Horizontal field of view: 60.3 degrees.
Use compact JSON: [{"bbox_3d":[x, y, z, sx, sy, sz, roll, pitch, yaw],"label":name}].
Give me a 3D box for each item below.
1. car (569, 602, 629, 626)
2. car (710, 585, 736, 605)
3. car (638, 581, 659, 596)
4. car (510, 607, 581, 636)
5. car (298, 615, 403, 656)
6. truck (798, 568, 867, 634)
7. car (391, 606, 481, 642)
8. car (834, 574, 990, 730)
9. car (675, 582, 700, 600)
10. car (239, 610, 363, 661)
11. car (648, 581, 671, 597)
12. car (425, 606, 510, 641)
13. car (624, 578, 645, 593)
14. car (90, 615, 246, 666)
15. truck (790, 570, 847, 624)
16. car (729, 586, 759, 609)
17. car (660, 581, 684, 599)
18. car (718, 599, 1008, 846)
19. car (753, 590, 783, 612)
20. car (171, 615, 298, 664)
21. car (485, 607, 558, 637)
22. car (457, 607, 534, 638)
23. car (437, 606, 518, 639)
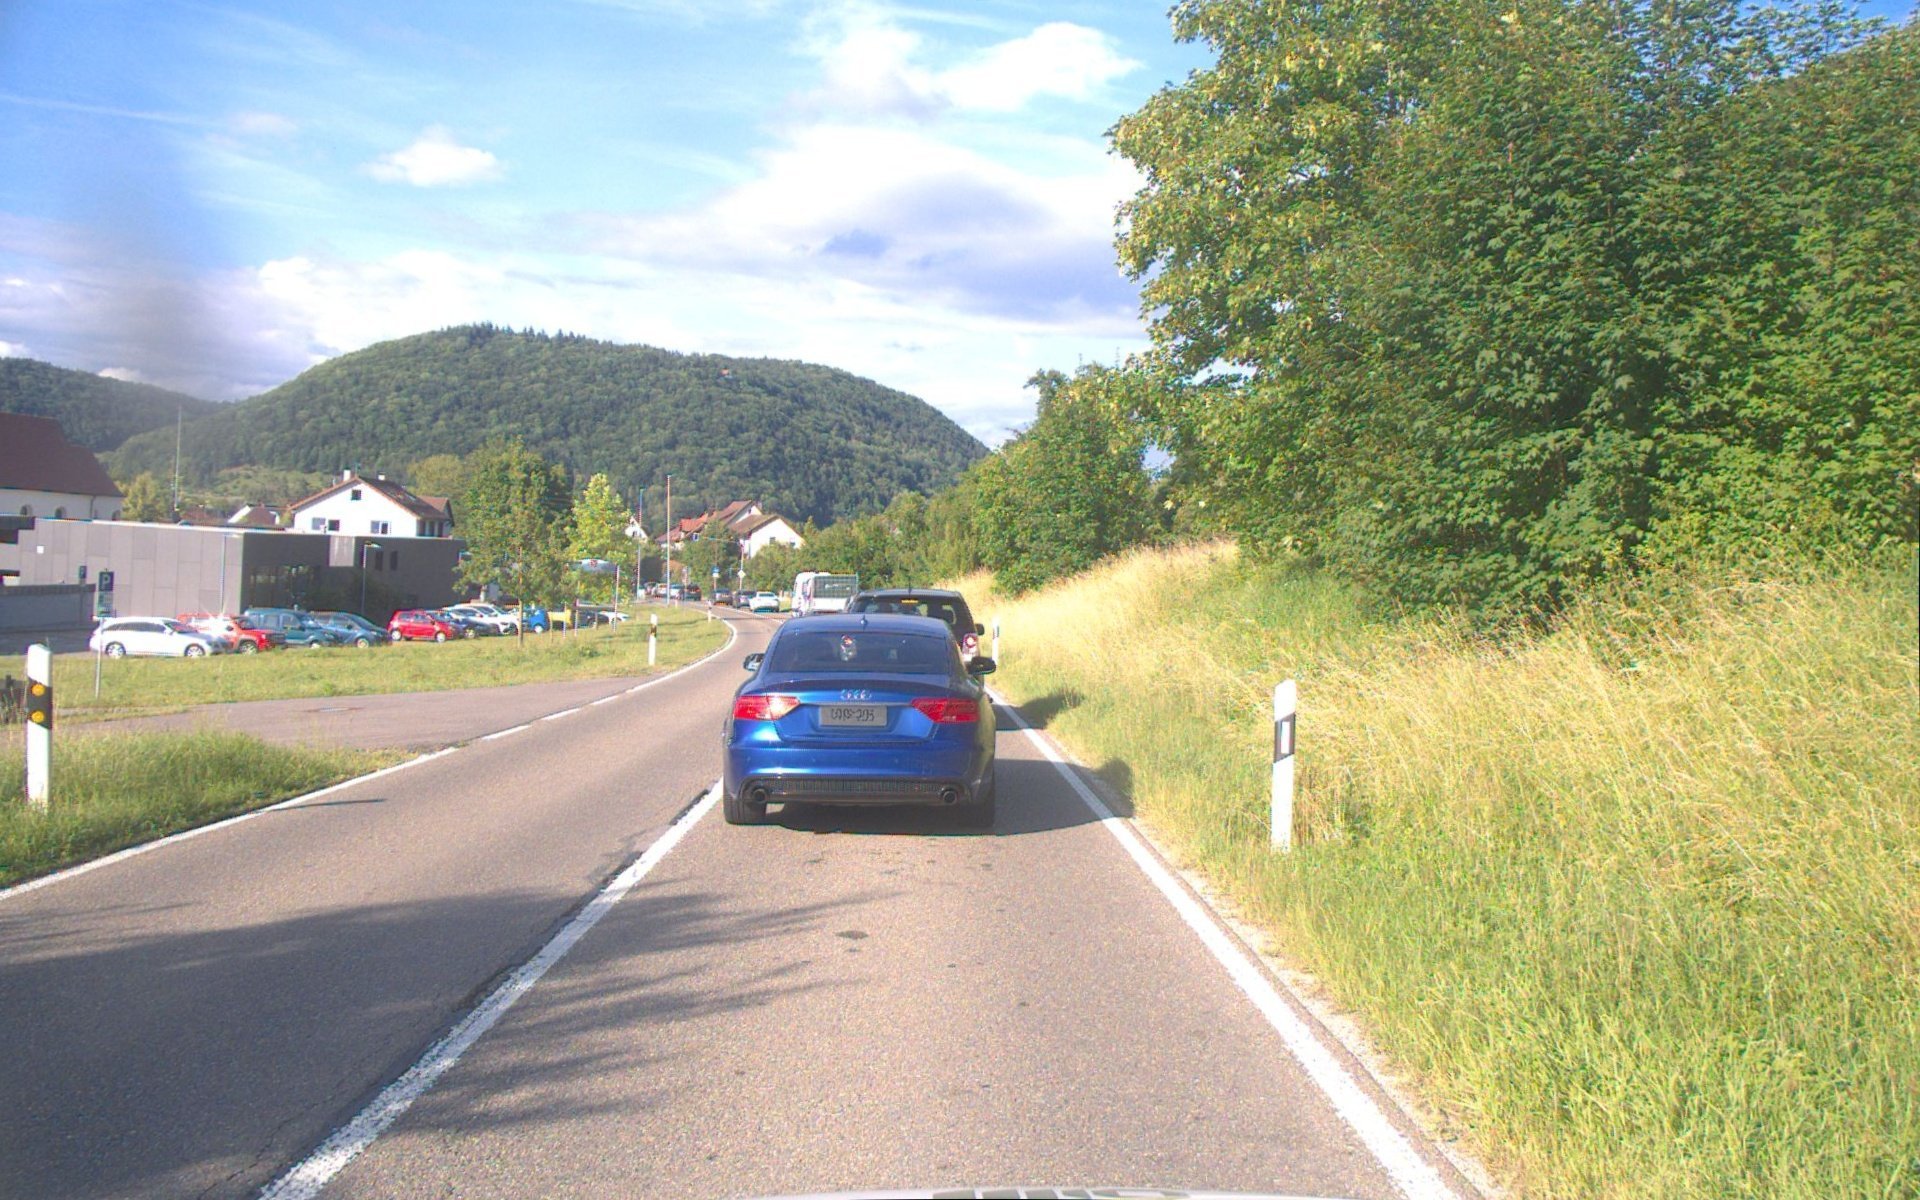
[{"bbox_3d":[-25.743,0.990,118.049,3.907,1.607,1.751,1,-1,-3],"label":"car"},{"bbox_3d":[-20.889,-0.440,145.513,1.815,1.742,3.984,1,0,-15],"label":"car"},{"bbox_3d":[-35.685,-1.314,189.278,1.817,1.742,3.979,1,0,-19],"label":"car"},{"bbox_3d":[-25.903,1.346,103.480,3.907,1.741,1.999,1,-1,-3],"label":"car"},{"bbox_3d":[-26.934,1.561,73.219,3.907,1.741,1.999,1,-1,-3],"label":"car"},{"bbox_3d":[-5.445,0.051,69.861,2.190,2.615,6.087,1,0,-11],"label":"truck"},{"bbox_3d":[-26.416,1.210,83.523,3.907,1.741,1.999,1,-1,-3],"label":"car"},{"bbox_3d":[-0.533,0.594,20.459,1.718,1.710,3.846,1,0,0],"label":"car"},{"bbox_3d":[-27.063,-0.872,164.273,1.818,1.742,3.977,1,0,-20],"label":"car"},{"bbox_3d":[-27.330,1.456,68.711,4.318,2.043,1.999,1,-1,-3],"label":"car"},{"bbox_3d":[-33.024,-1.210,181.606,1.819,1.742,3.976,1,0,-20],"label":"car"},{"bbox_3d":[-26.188,1.243,88.075,3.907,1.741,1.999,1,-1,-3],"label":"car"},{"bbox_3d":[-38.731,-1.701,196.719,1.818,1.742,3.976,1,0,-20],"label":"car"},{"bbox_3d":[-28.622,1.446,59.873,4.637,1.741,1.999,1,-1,-3],"label":"car"},{"bbox_3d":[-7.340,-0.132,85.250,2.190,2.615,6.689,1,0,-11],"label":"truck"},{"bbox_3d":[-17.042,-0.214,130.510,1.815,1.742,3.984,1,0,-15],"label":"car"},{"bbox_3d":[-30.236,-1.037,173.735,1.818,1.742,3.978,1,0,-19],"label":"car"},{"bbox_3d":[-0.575,0.748,11.864,1.718,1.455,3.846,1,0,0],"label":"car"},{"bbox_3d":[-13.756,0.084,118.394,1.813,1.508,3.988,1,0,-12],"label":"car"},{"bbox_3d":[-27.557,1.484,62.897,3.907,1.741,1.999,1,-1,-3],"label":"car"},{"bbox_3d":[-26.680,1.316,100.795,3.907,1.741,1.999,1,-1,-3],"label":"car"},{"bbox_3d":[-26.655,1.279,95.009,3.907,1.741,1.999,1,-1,-3],"label":"car"},{"bbox_3d":[-26.708,1.258,91.724,3.907,1.741,1.999,1,-1,-3],"label":"car"}]
